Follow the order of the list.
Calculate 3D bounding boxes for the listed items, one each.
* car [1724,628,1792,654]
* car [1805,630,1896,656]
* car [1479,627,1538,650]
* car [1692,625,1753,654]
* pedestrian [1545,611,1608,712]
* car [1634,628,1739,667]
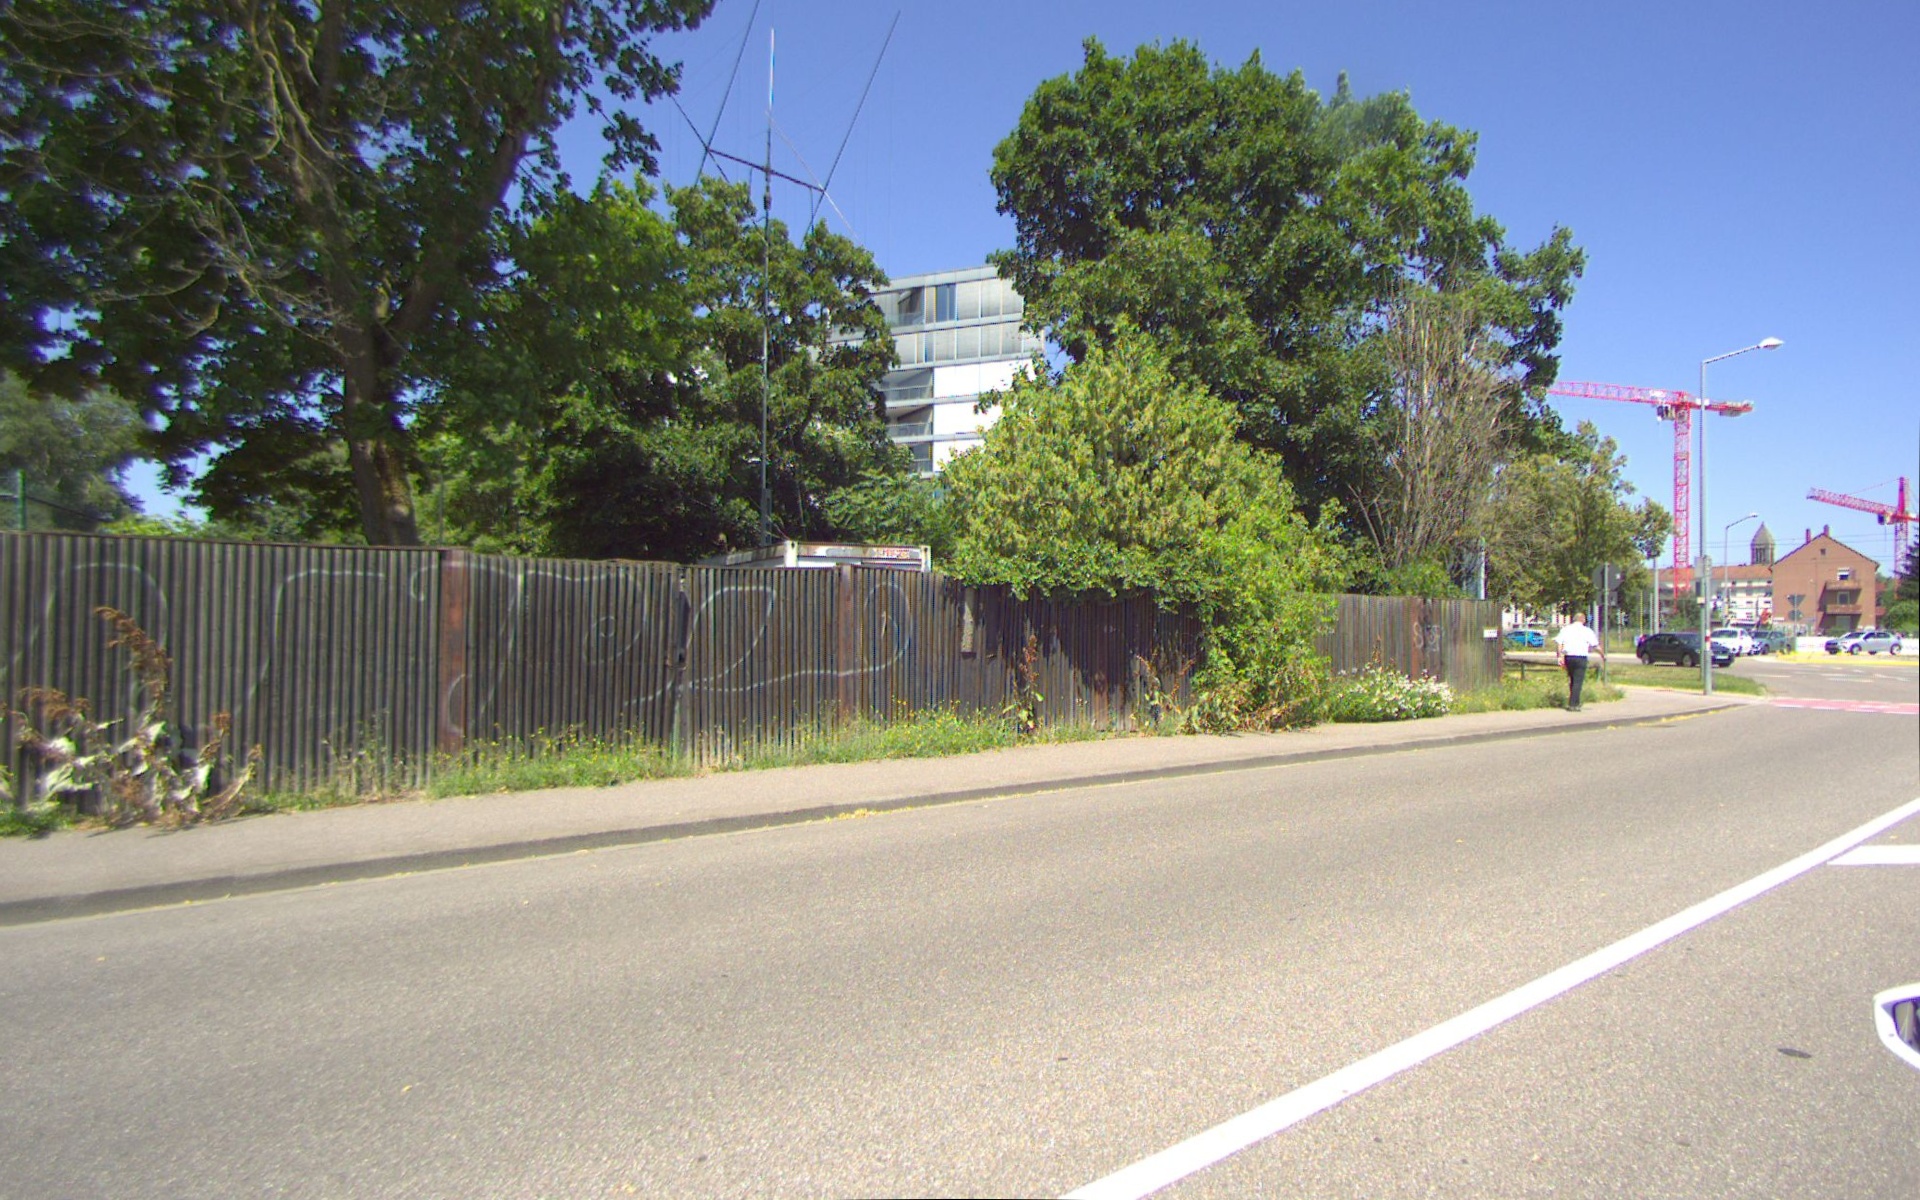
[{"bbox_3d":[46.817,2.408,58.905,4.282,1.390,1.737,2,0,-31],"label":"car"},{"bbox_3d":[55.169,2.678,62.242,4.188,1.421,1.732,2,0,-3],"label":"car"},{"bbox_3d":[46.438,3.247,85.073,1.859,1.795,3.957,2,0,-37],"label":"car"},{"bbox_3d":[42.229,2.150,55.604,3.837,1.547,1.763,1,-2,-37],"label":"car"},{"bbox_3d":[11.525,1.131,18.772,0.959,1.810,0.632,2,0,-34],"label":"pedestrian"},{"bbox_3d":[31.368,2.008,43.547,1.693,1.572,4.346,0,-1,5],"label":"car"}]
